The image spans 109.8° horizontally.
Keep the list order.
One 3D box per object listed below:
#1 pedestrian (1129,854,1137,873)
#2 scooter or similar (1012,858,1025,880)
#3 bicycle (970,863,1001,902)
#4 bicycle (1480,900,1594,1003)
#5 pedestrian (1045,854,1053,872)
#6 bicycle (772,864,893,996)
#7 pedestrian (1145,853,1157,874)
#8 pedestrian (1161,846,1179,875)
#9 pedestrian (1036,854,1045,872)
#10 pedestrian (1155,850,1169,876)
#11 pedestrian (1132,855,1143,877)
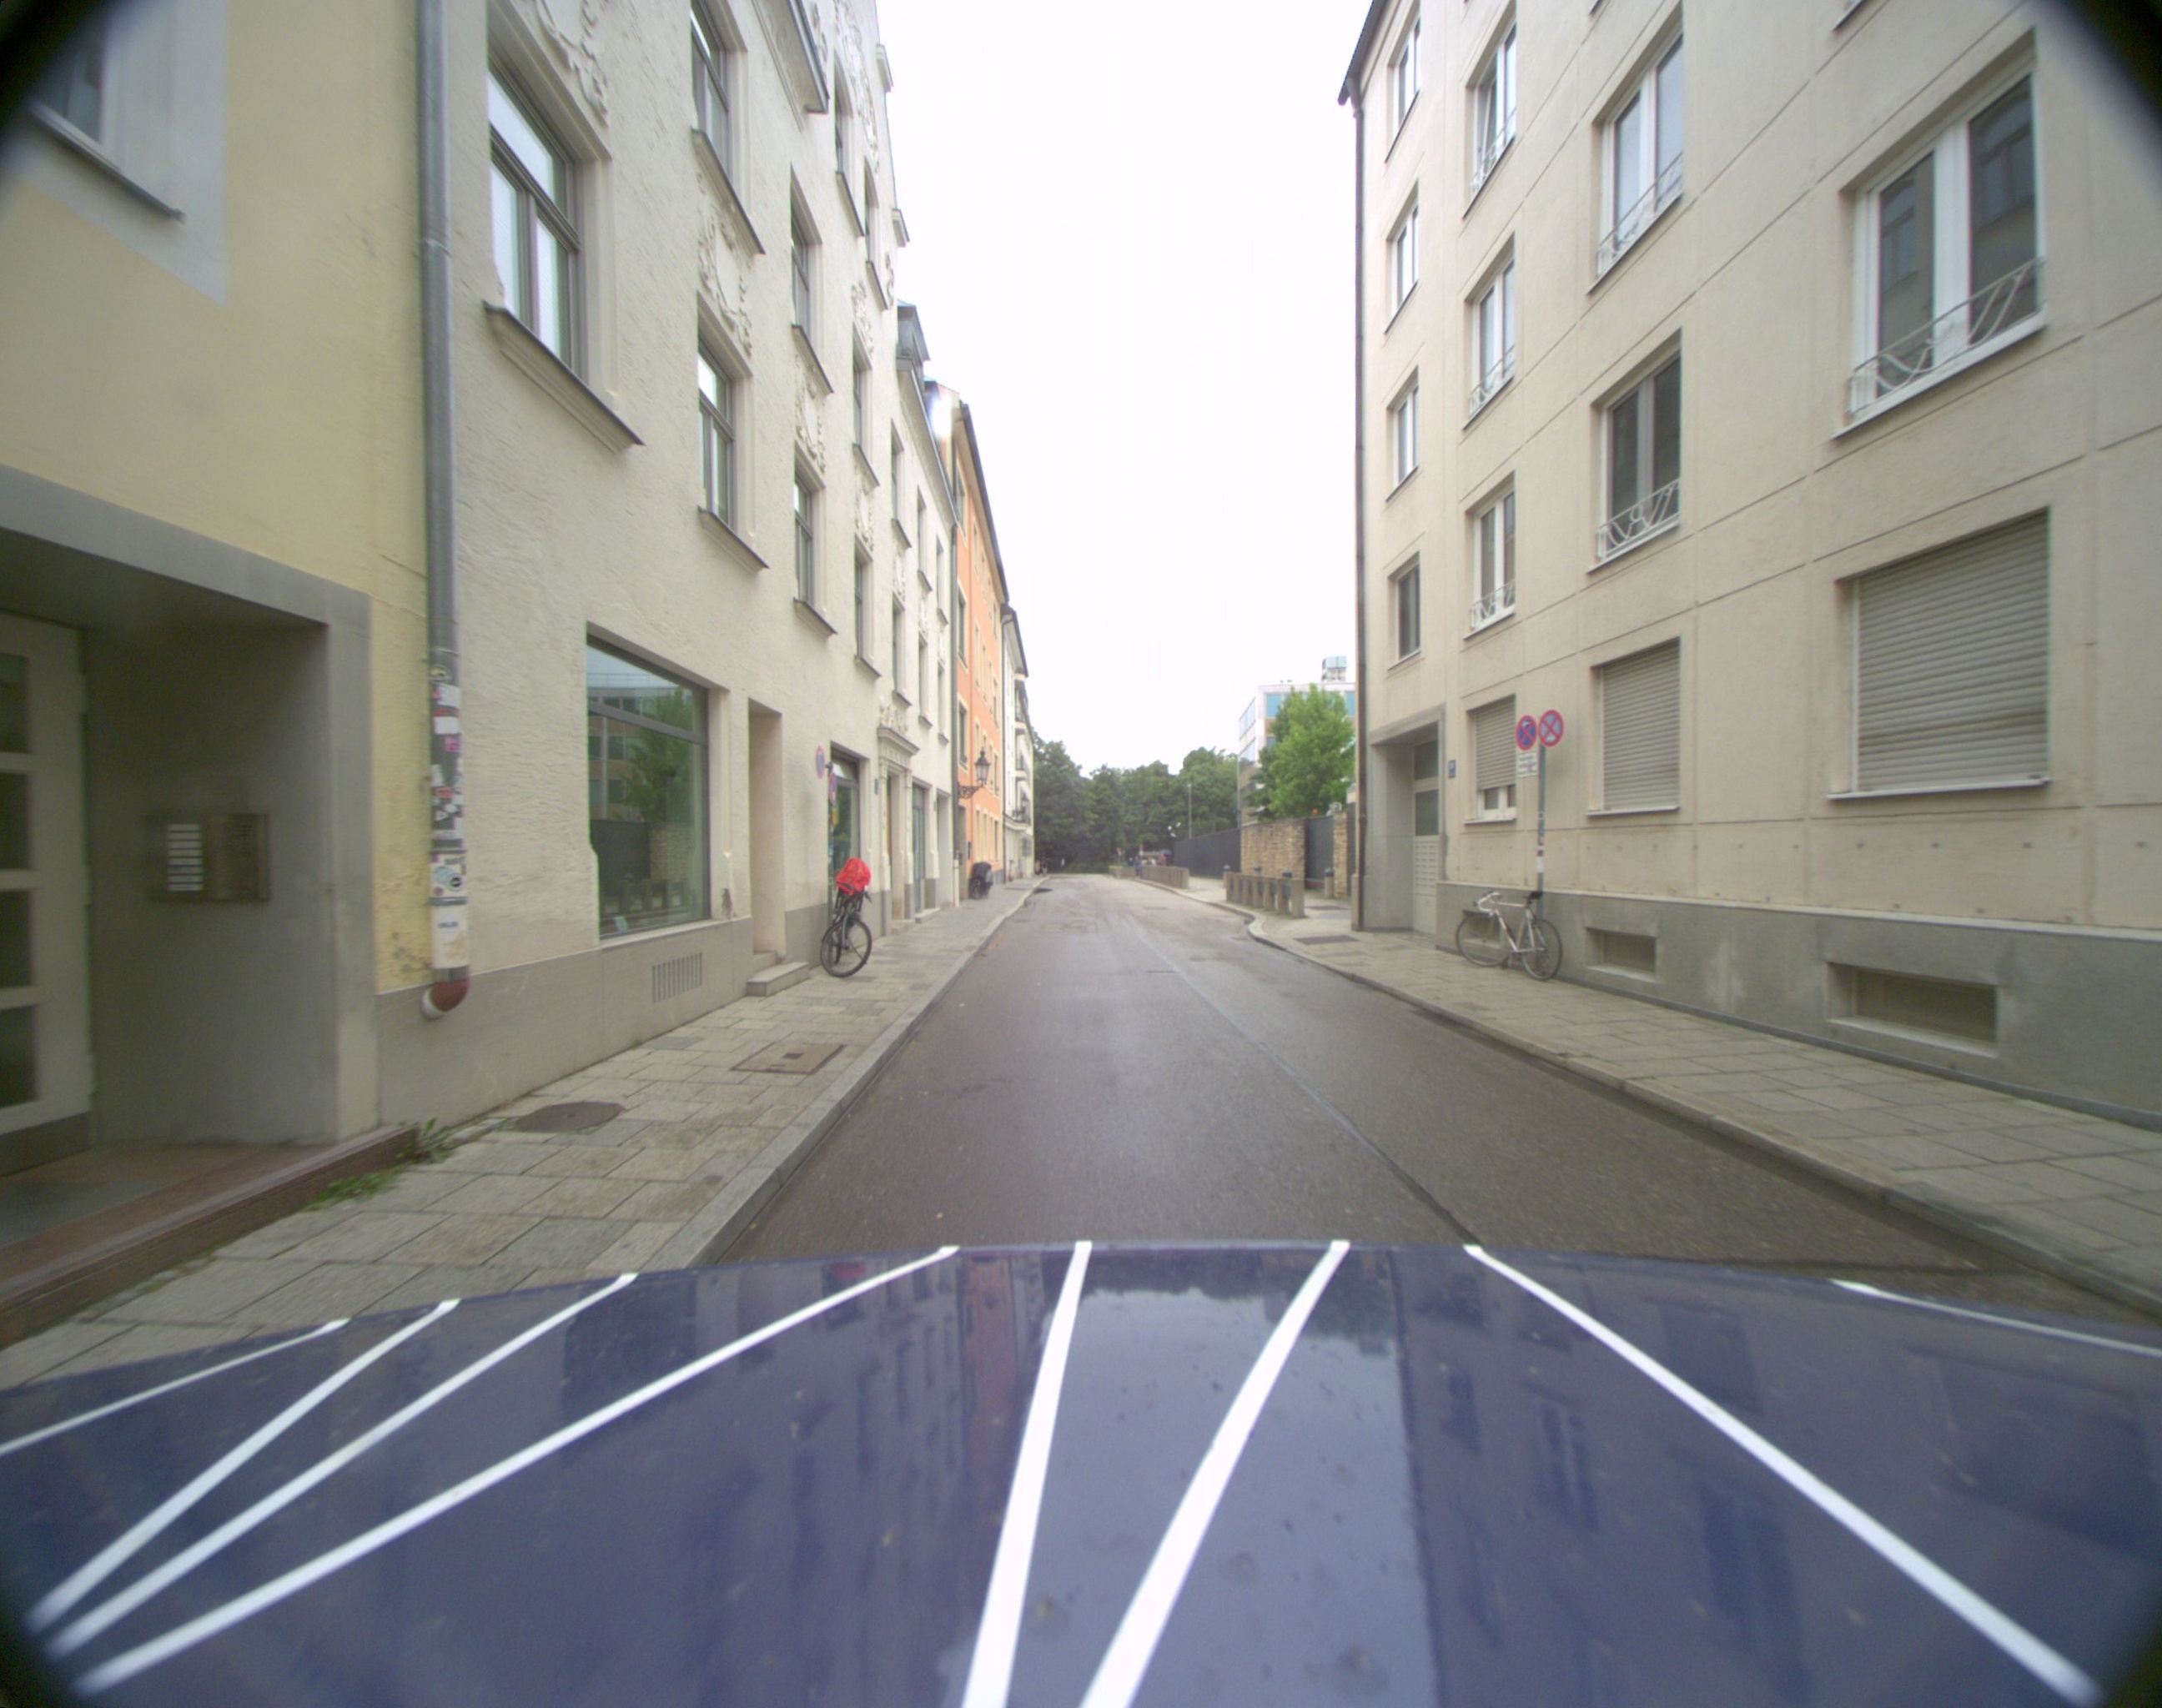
[{"bbox_3d":[4.800,0.893,69.911,0.625,1.758,0.766,0,0,-2],"label":"pedestrian"},{"bbox_3d":[-3.649,0.853,44.262,0.466,1.251,1.275,2,0,-15],"label":"scooter or similar"},{"bbox_3d":[-3.273,0.947,26.299,0.681,1.233,2.382,4,0,1],"label":"bicycle"},{"bbox_3d":[5.079,1.042,8.561,0.320,0.938,1.574,-3,0,1],"label":"bicycle"},{"bbox_3d":[-3.075,0.832,72.816,0.753,1.725,0.853,0,0,-2],"label":"pedestrian"},{"bbox_3d":[-2.978,0.841,9.358,0.715,1.388,2.122,2,0,1],"label":"bicycle"},{"bbox_3d":[5.332,0.740,57.730,0.779,1.531,0.933,-2,0,7],"label":"pedestrian"},{"bbox_3d":[6.508,0.482,55.666,1.226,2.091,1.116,0,0,1],"label":"pedestrian"},{"bbox_3d":[-3.878,0.866,72.744,0.753,1.670,0.655,0,0,-2],"label":"pedestrian"},{"bbox_3d":[5.554,0.636,52.041,0.826,1.713,0.906,-2,0,4],"label":"pedestrian"},{"bbox_3d":[3.891,0.841,52.365,0.640,1.458,1.079,-2,0,0],"label":"pedestrian"}]
